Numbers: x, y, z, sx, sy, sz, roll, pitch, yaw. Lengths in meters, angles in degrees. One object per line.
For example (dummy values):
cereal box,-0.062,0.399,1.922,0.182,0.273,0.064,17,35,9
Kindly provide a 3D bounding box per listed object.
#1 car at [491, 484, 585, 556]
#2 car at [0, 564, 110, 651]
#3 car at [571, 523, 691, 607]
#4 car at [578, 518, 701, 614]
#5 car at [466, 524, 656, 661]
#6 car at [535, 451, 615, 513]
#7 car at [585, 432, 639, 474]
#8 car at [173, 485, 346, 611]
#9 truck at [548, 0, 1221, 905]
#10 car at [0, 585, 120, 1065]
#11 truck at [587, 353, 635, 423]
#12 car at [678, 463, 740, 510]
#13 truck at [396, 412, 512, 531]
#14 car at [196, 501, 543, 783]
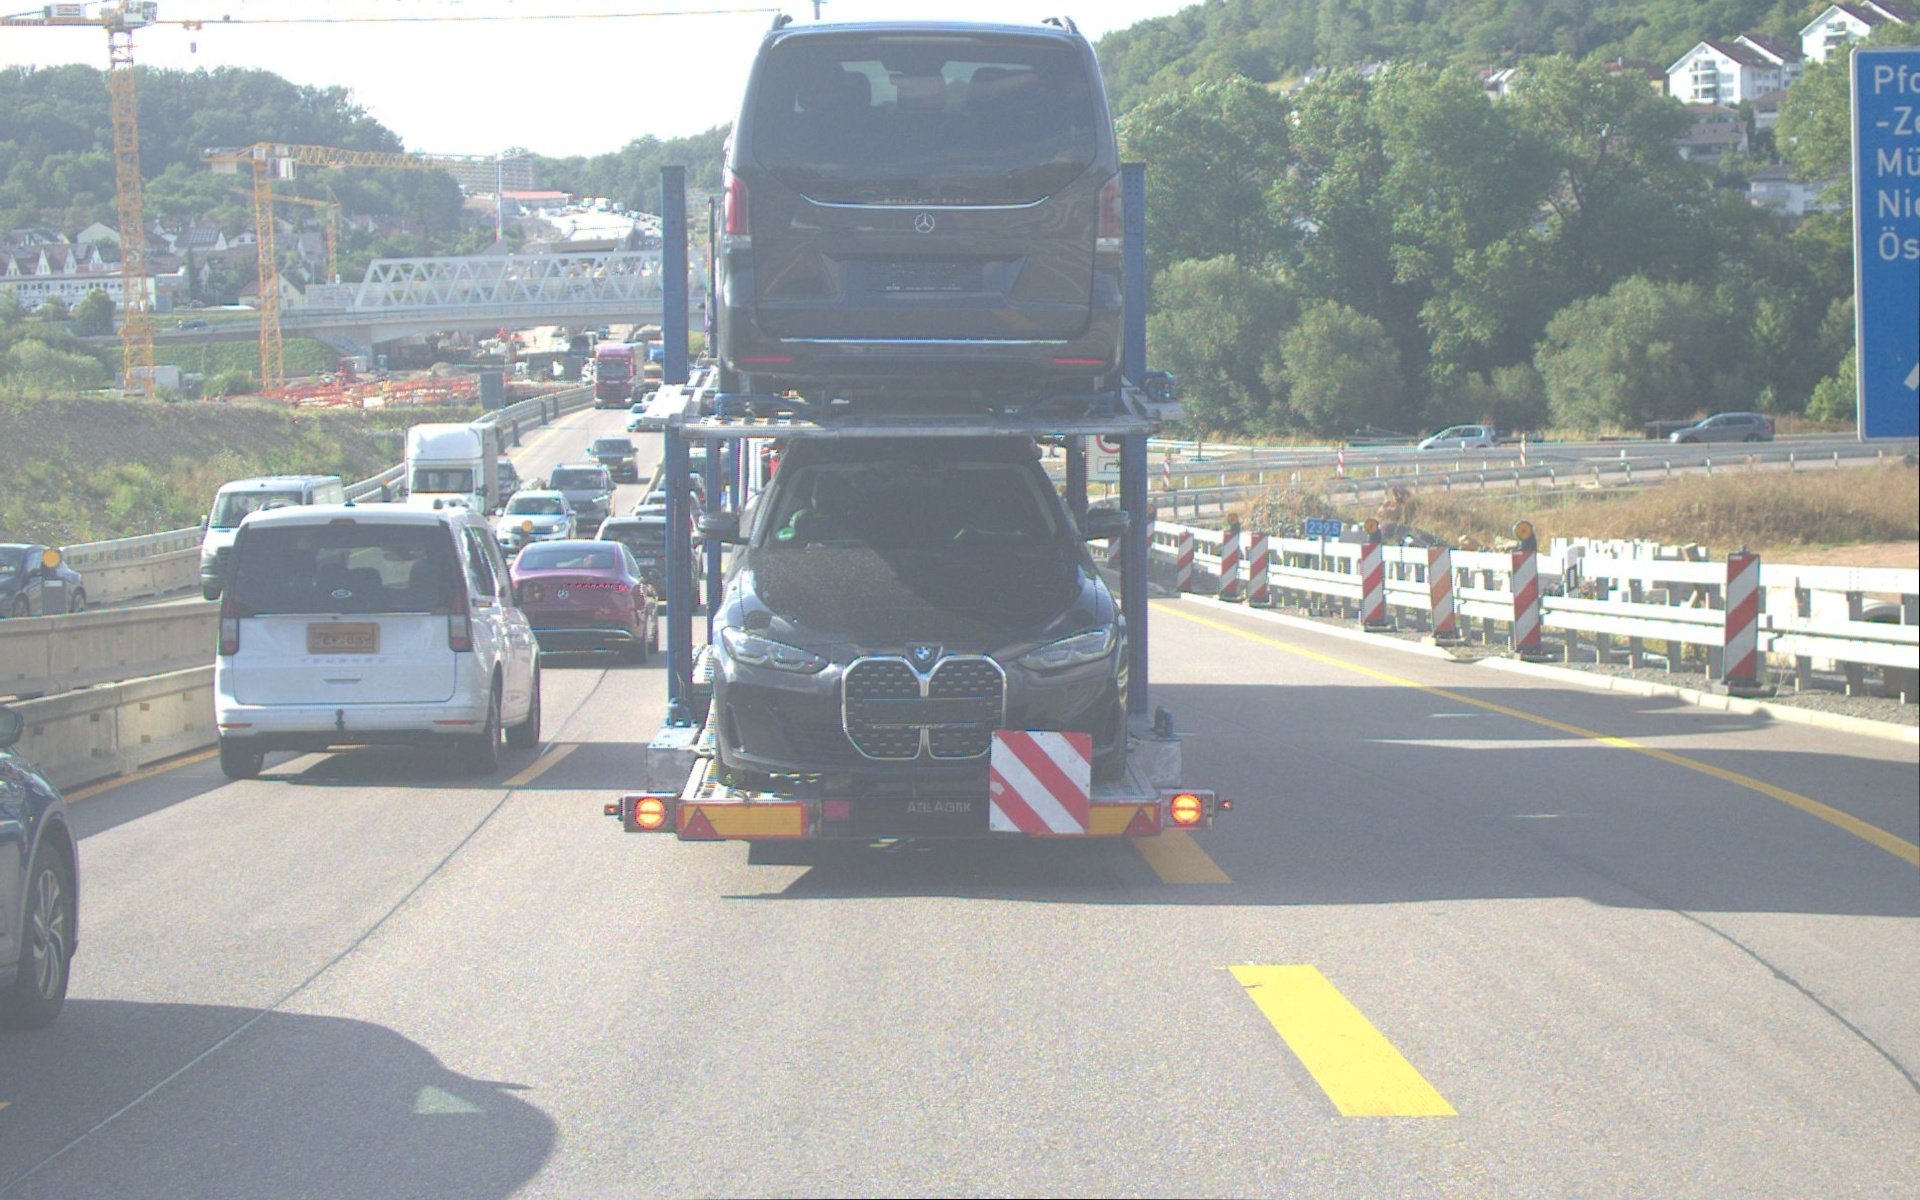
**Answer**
car,-10.801,-2.066,88.203,2.125,1.668,4.274,-2,3,-4
car,-14.549,0.099,52.127,1.920,1.268,3.999,0,0,7
car,-6.228,-0.655,65.512,1.993,1.547,4.000,0,0,-1
car,-5.380,-0.571,58.113,1.993,1.547,4.001,0,0,-4
car,-4.765,-0.104,41.568,1.993,1.551,4.401,0,0,-3
car,-11.708,-3.621,104.782,2.125,1.759,5.032,-2,3,-4
car,-14.136,-5.994,139.748,1.852,1.630,4.750,-2,3,-2
car,-13.928,-1.016,68.735,2.258,2.394,5.867,0,0,0
truck,-0.505,-0.780,23.721,2.753,3.941,18.890,1,0,-1
car,-3.706,0.690,9.624,1.722,1.417,4.000,-2,0,-1
truck,-22.685,-13.733,223.309,2.914,4.372,6.288,0,2,-7
car,-8.822,-3.999,121.156,1.993,1.547,4.000,0,0,-1
truck,-14.930,-3.738,101.813,2.700,3.300,7.538,0,0,-3
car,-4.011,0.253,23.942,1.823,1.786,4.000,0,0,-2
